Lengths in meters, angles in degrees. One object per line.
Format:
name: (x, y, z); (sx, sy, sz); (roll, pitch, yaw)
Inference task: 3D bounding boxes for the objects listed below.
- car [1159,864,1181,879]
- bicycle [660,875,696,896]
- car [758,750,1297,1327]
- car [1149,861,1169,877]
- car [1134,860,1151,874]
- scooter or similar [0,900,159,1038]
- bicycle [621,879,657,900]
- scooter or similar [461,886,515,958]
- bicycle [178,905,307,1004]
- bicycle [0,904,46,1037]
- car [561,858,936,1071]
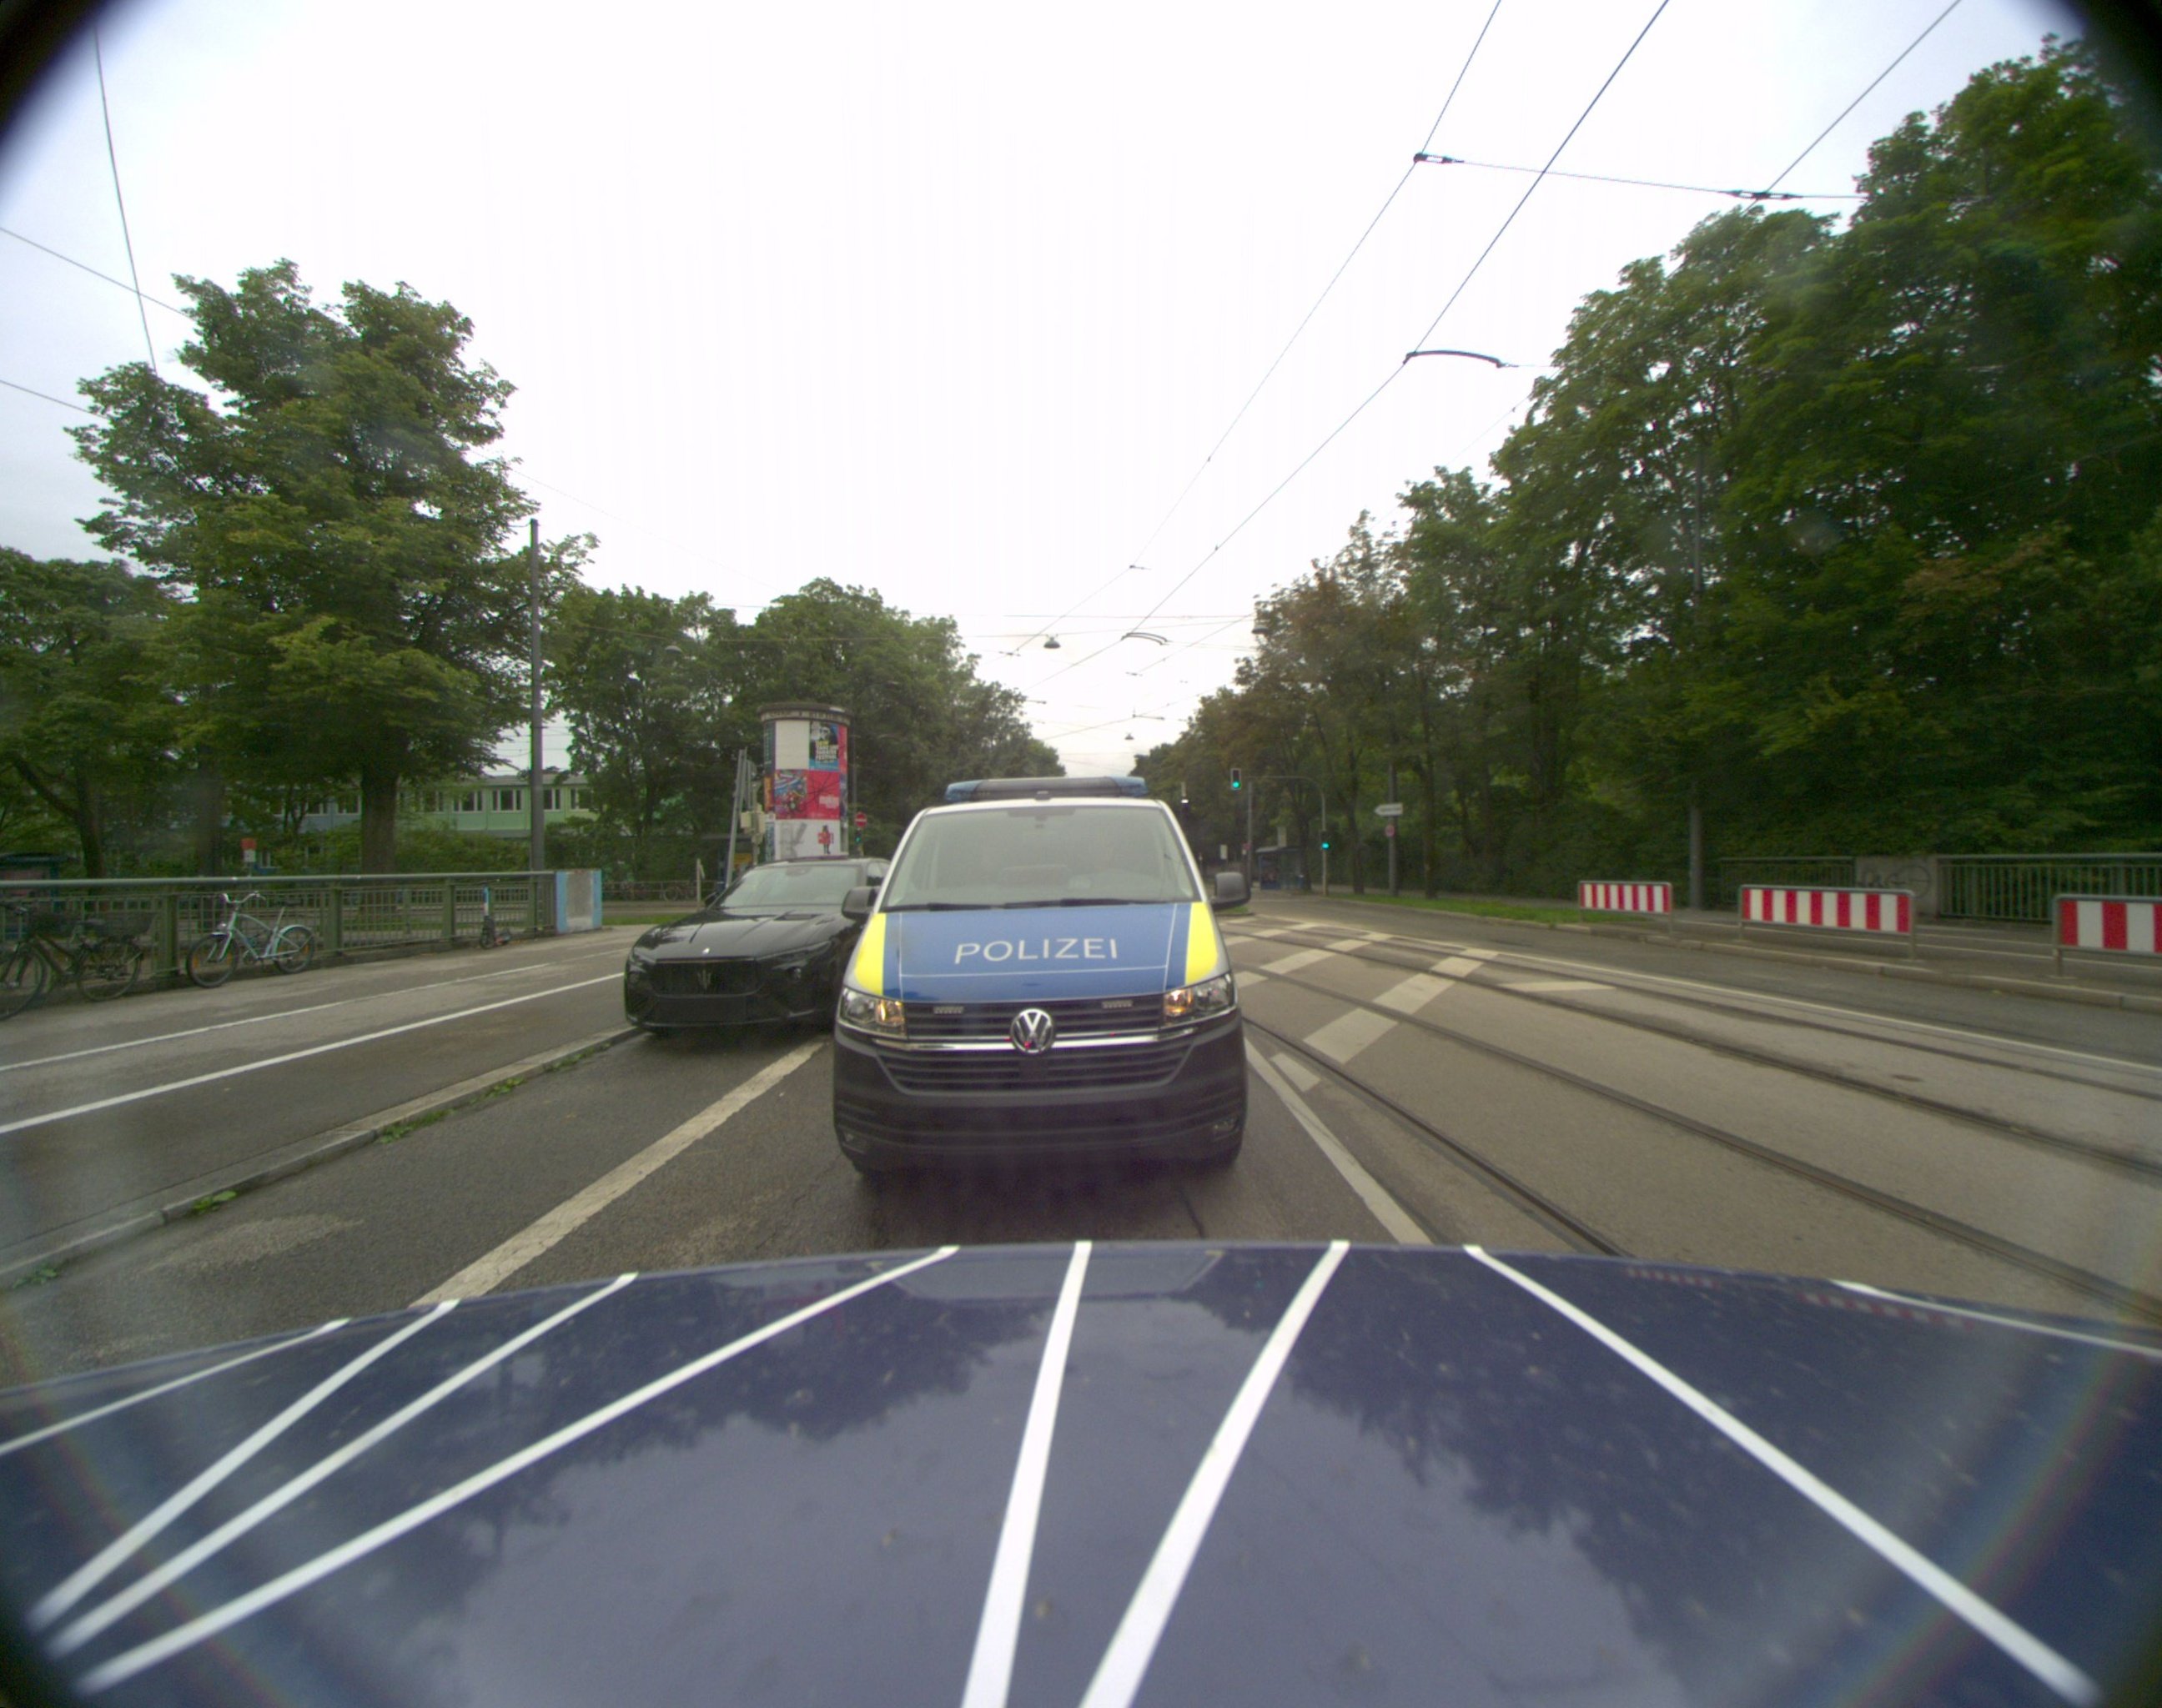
car: (9.989, 1.924, 85.722); (1.888, 1.531, 3.999); (-3, 0, -1)
bicycle: (-18.807, 1.482, 35.473); (1.483, 0.946, 0.373); (-1, 1, 3)
car: (-0.228, 0.653, 5.571); (1.903, 2.041, 5.708); (-1, 0, -1)
car: (9.316, 1.790, 91.064); (1.888, 1.716, 3.999); (-3, 0, -1)
car: (8.586, 1.801, 105.729); (1.888, 1.716, 3.999); (-3, 0, -1)
scooter or similar: (-10.596, 1.160, 8.096); (0.245, 1.255, 1.493); (-3, 0, -22)
bicycle: (-20.786, 1.664, 35.749); (1.483, 0.946, 0.373); (-1, 1, 3)
scooter or similar: (-10.637, 1.197, 13.651); (0.225, 1.205, 1.020); (-3, 1, -8)
bicycle: (-10.749, 1.241, 9.798); (0.265, 1.076, 1.540); (-3, 0, -14)
bicycle: (-10.600, 1.145, 7.103); (0.283, 1.274, 1.408); (-3, 0, -19)
car: (-3.063, 0.891, 8.316); (1.905, 1.600, 4.665); (-3, -1, 1)
